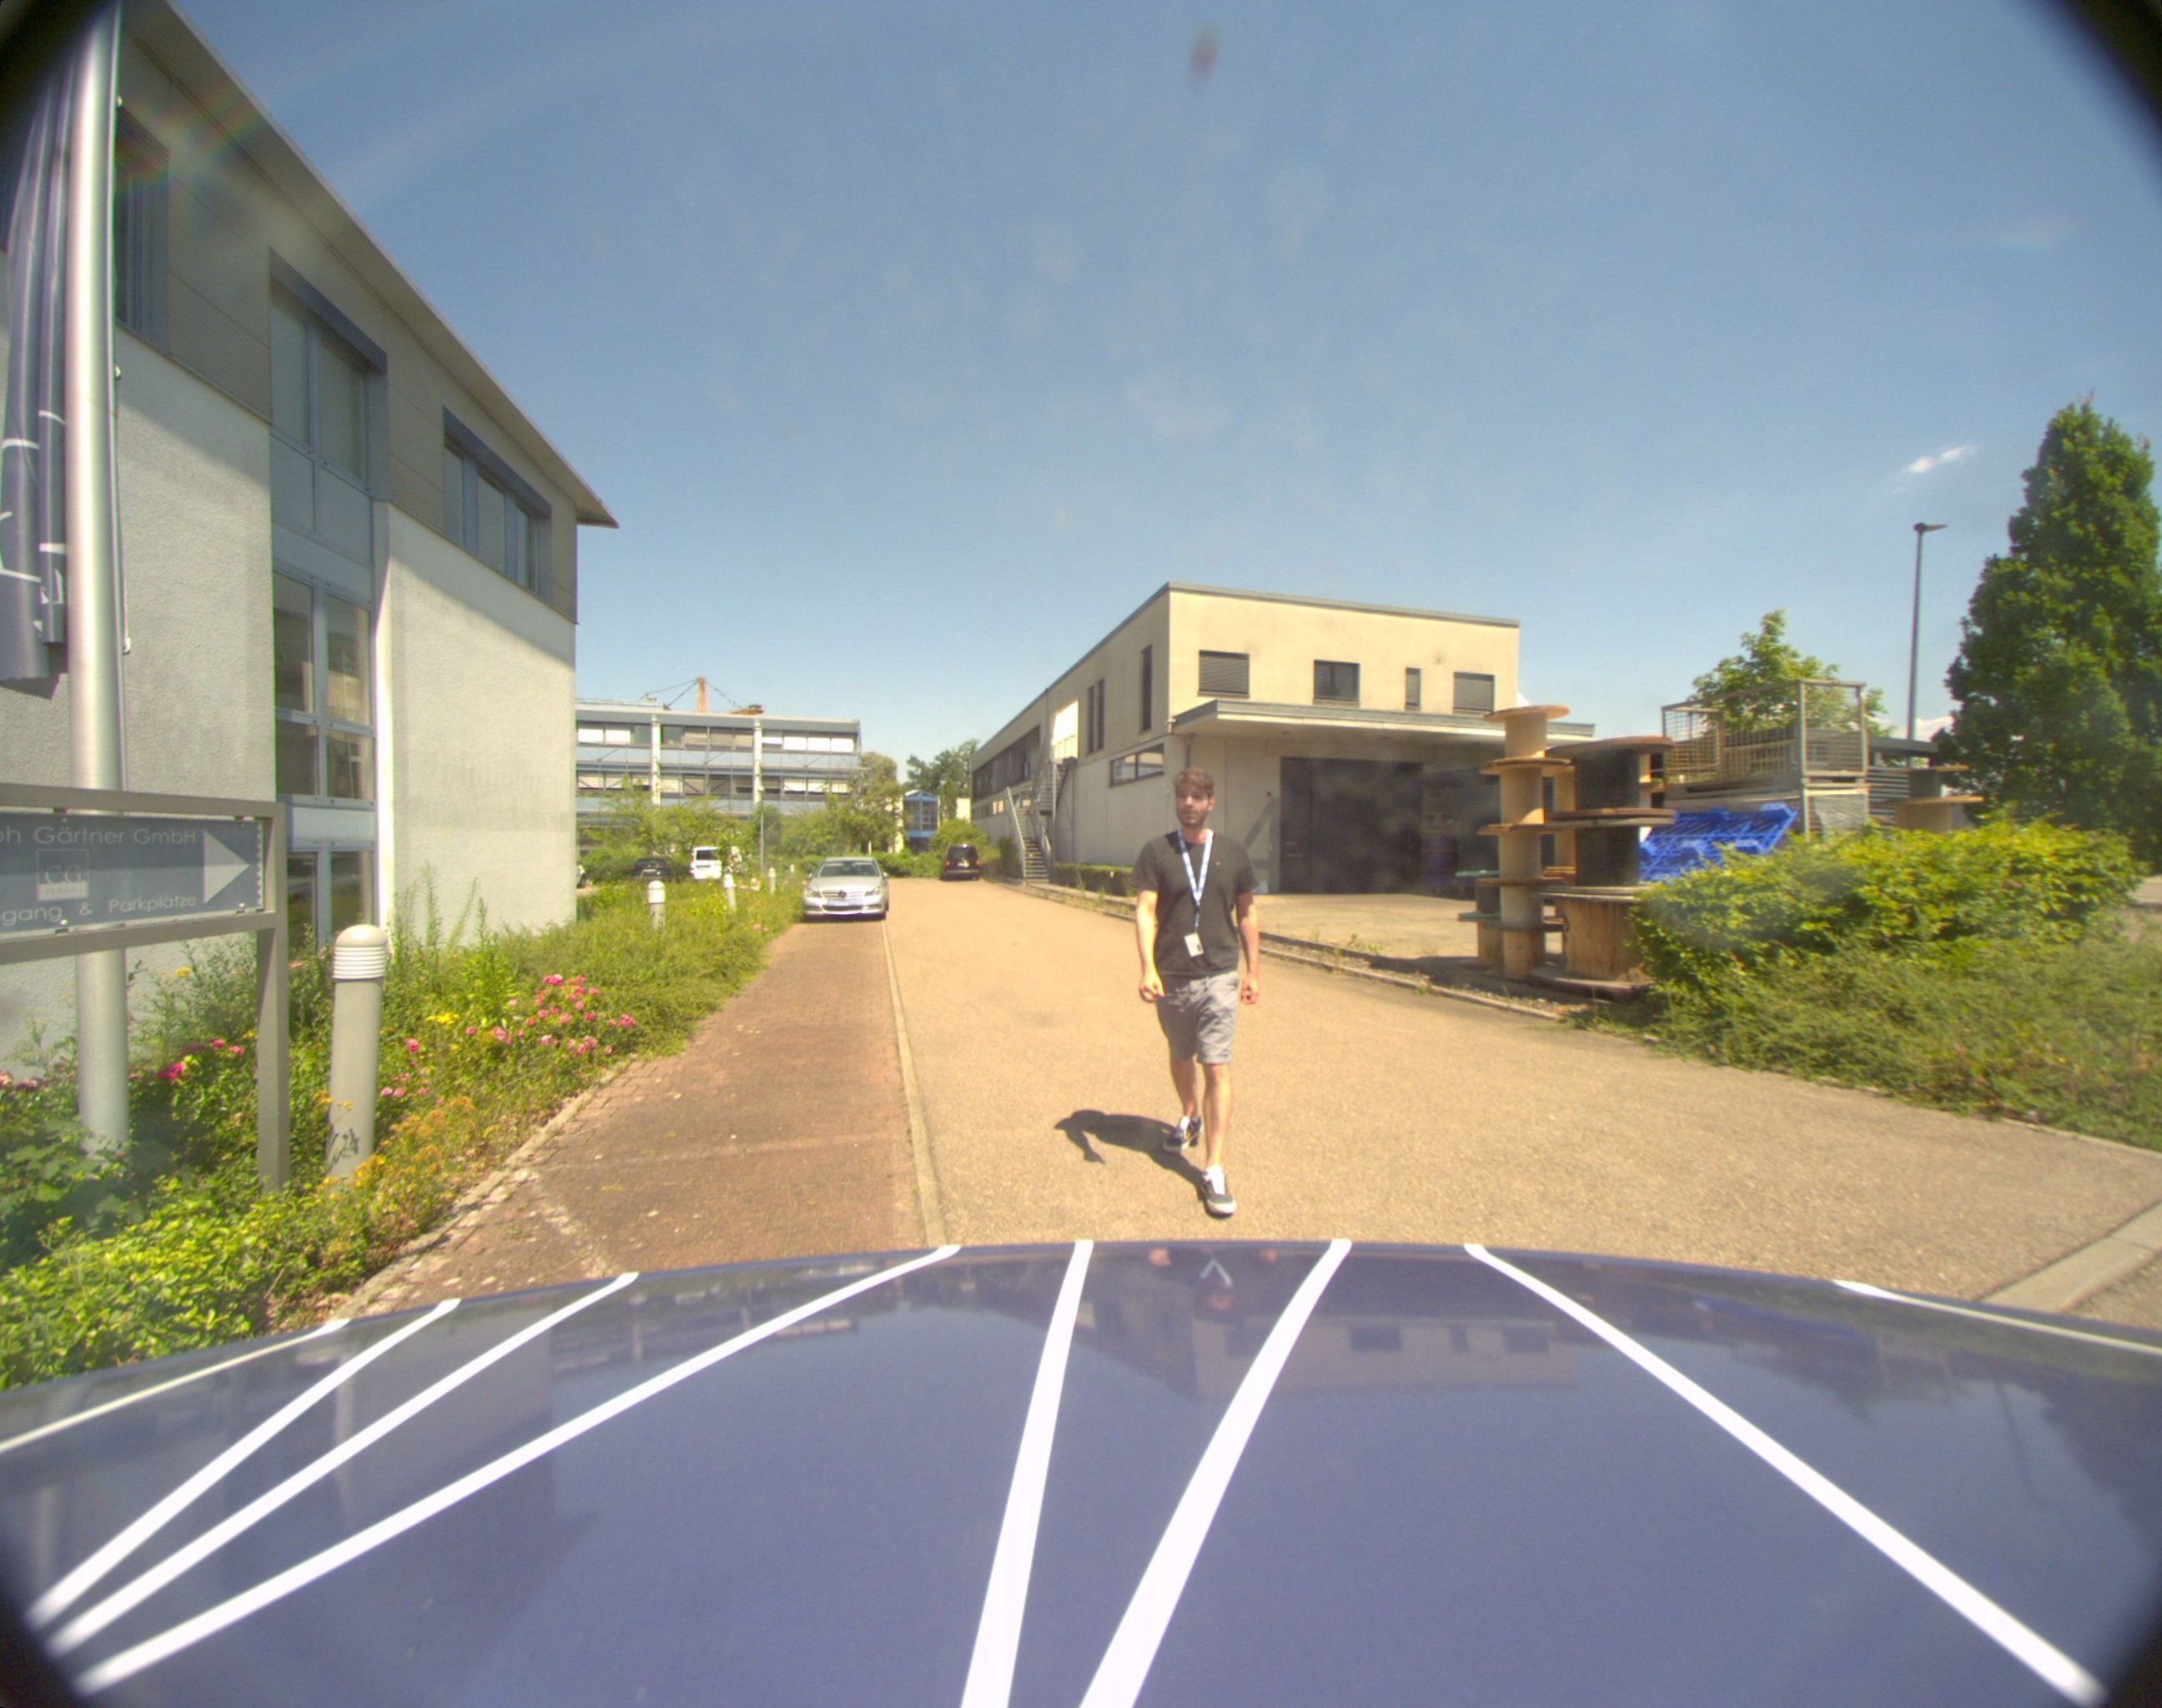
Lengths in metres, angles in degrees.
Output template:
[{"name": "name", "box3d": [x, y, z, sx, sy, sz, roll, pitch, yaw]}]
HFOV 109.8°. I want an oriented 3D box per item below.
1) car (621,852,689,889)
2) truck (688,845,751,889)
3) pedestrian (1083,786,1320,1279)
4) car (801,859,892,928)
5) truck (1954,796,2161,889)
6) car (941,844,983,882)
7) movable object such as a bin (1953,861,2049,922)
[{"name": "car", "box3d": [-19.613, 0.715, 35.165, 1.790, 1.537, 3.994, -1, 1, -15]}, {"name": "truck", "box3d": [-16.693, 0.553, 35.271, 2.001, 1.883, 3.994, -1, 1, -17]}, {"name": "pedestrian", "box3d": [0.524, 0.658, 3.295, 0.859, 1.809, 0.905, -1, 1, 10]}, {"name": "car", "box3d": [-5.441, 0.843, 18.027, 1.713, 1.383, 3.806, 0, 1, -12]}, {"name": "truck", "box3d": [30.779, -0.389, 23.701, 5.701, 2.656, 2.415, -1, 1, -15]}, {"name": "car", "box3d": [-6.199, 0.408, 39.220, 1.789, 1.793, 3.994, -1, 1, -13]}, {"name": "movable object such as a bin", "box3d": [17.179, 0.679, 14.207, 0.988, 1.078, 0.759, -1, 1, -11]}]
